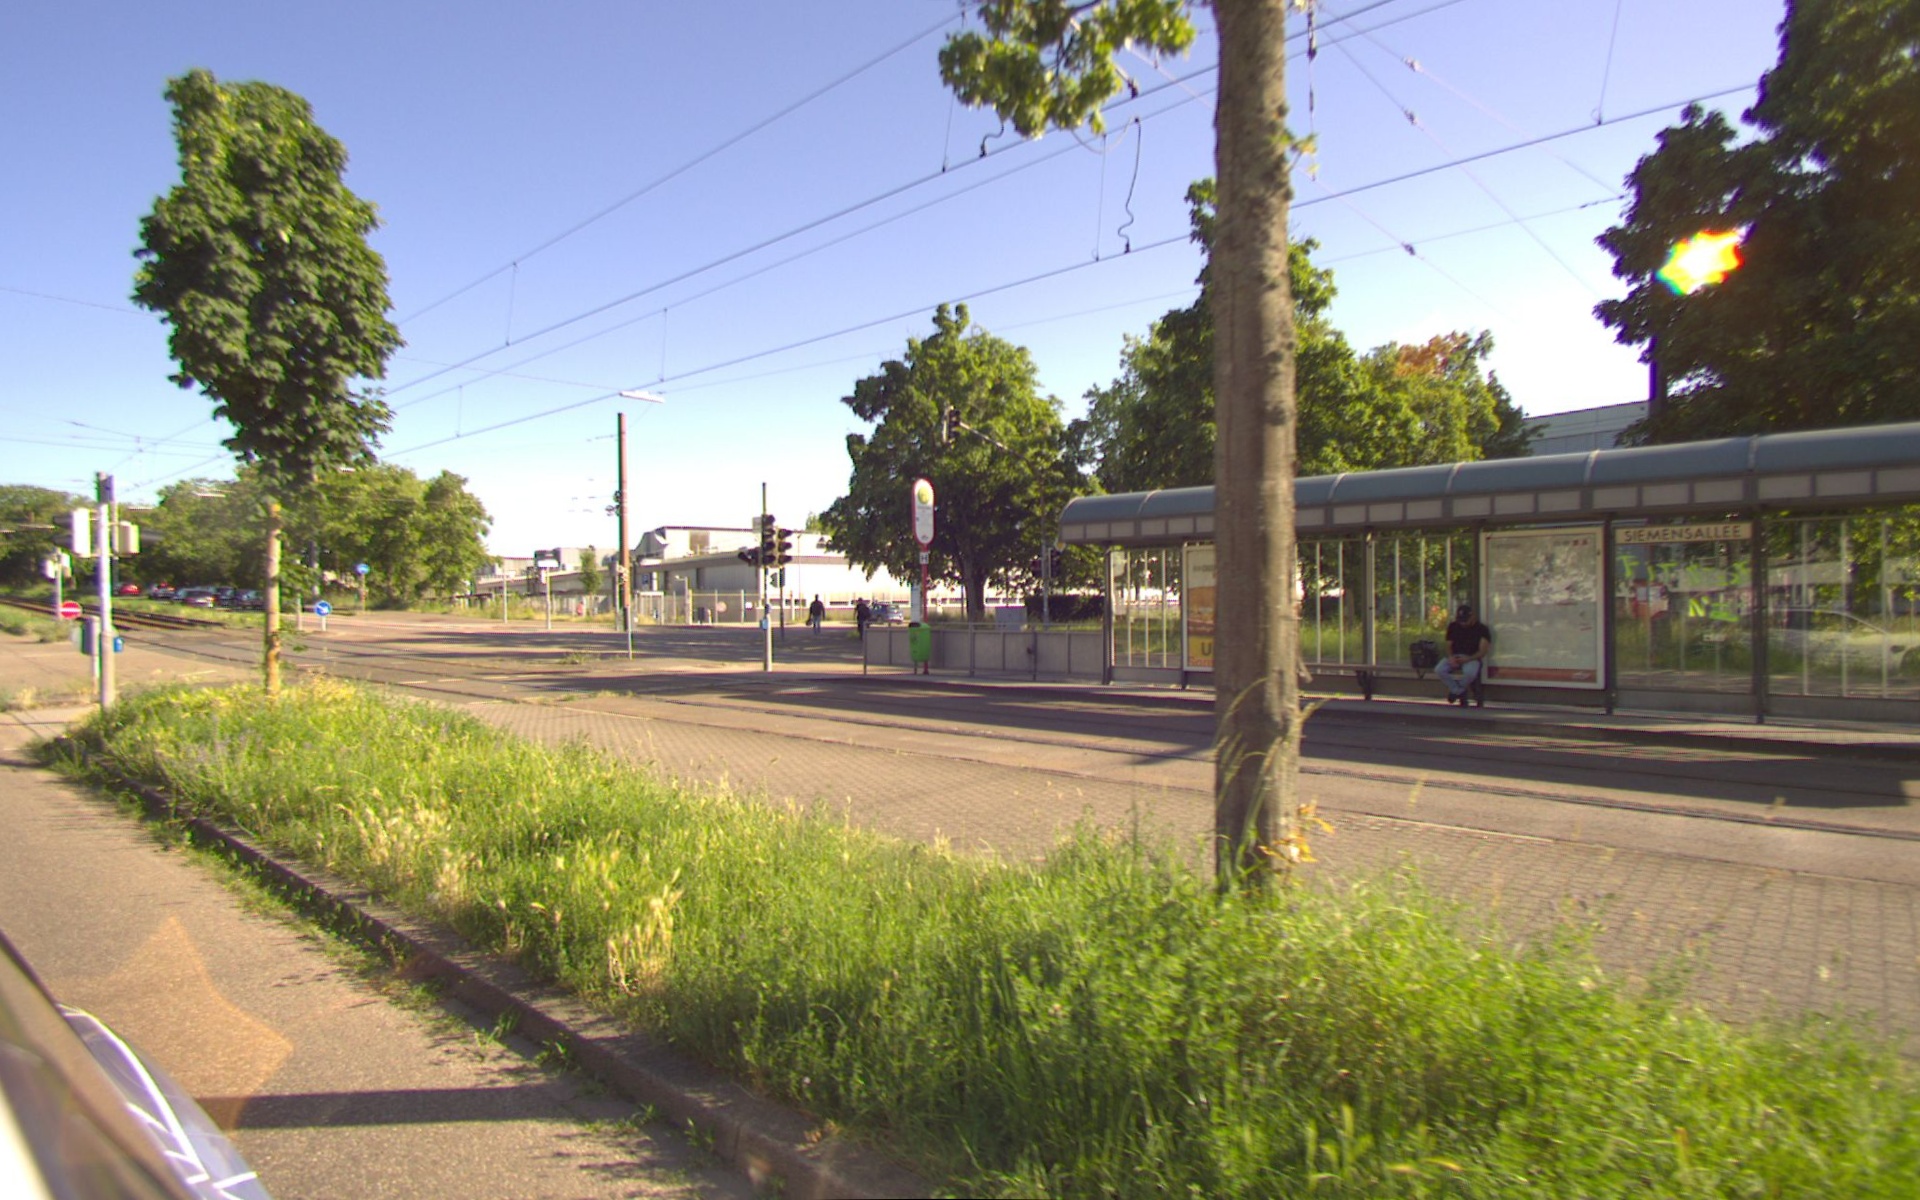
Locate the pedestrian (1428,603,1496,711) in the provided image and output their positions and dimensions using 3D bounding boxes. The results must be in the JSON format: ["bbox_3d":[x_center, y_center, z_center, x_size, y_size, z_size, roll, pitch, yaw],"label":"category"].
[{"bbox_3d":[6.102,0.686,12.292,0.679,1.258,0.643,-1,-3,32],"label":"pedestrian"}]

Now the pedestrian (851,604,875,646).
[{"bbox_3d":[-3.678,0.933,38.417,0.782,1.580,0.726,-1,0,2],"label":"pedestrian"}]

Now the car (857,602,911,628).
[{"bbox_3d":[-5.312,1.013,70.243,1.967,1.719,4.010,-1,0,-35],"label":"car"}]

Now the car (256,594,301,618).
[{"bbox_3d":[-47.834,0.432,71.027,3.453,1.597,1.749,-1,-1,39],"label":"car"}]

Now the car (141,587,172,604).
[{"bbox_3d":[-78.850,-0.459,99.346,3.453,1.597,1.680,-1,-1,39],"label":"car"}]

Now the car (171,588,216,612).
[{"bbox_3d":[-51.477,0.032,67.952,3.453,1.597,1.680,-1,-1,39],"label":"car"}]

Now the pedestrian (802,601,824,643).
[{"bbox_3d":[-6.097,0.912,42.093,0.796,1.689,0.637,-1,0,2],"label":"pedestrian"}]

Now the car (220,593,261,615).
[{"bbox_3d":[-53.450,0.314,75.156,3.453,1.597,1.680,-1,-1,39],"label":"car"}]

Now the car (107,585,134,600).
[{"bbox_3d":[-91.805,-0.820,110.674,3.453,1.597,1.680,-1,-1,39],"label":"car"}]
